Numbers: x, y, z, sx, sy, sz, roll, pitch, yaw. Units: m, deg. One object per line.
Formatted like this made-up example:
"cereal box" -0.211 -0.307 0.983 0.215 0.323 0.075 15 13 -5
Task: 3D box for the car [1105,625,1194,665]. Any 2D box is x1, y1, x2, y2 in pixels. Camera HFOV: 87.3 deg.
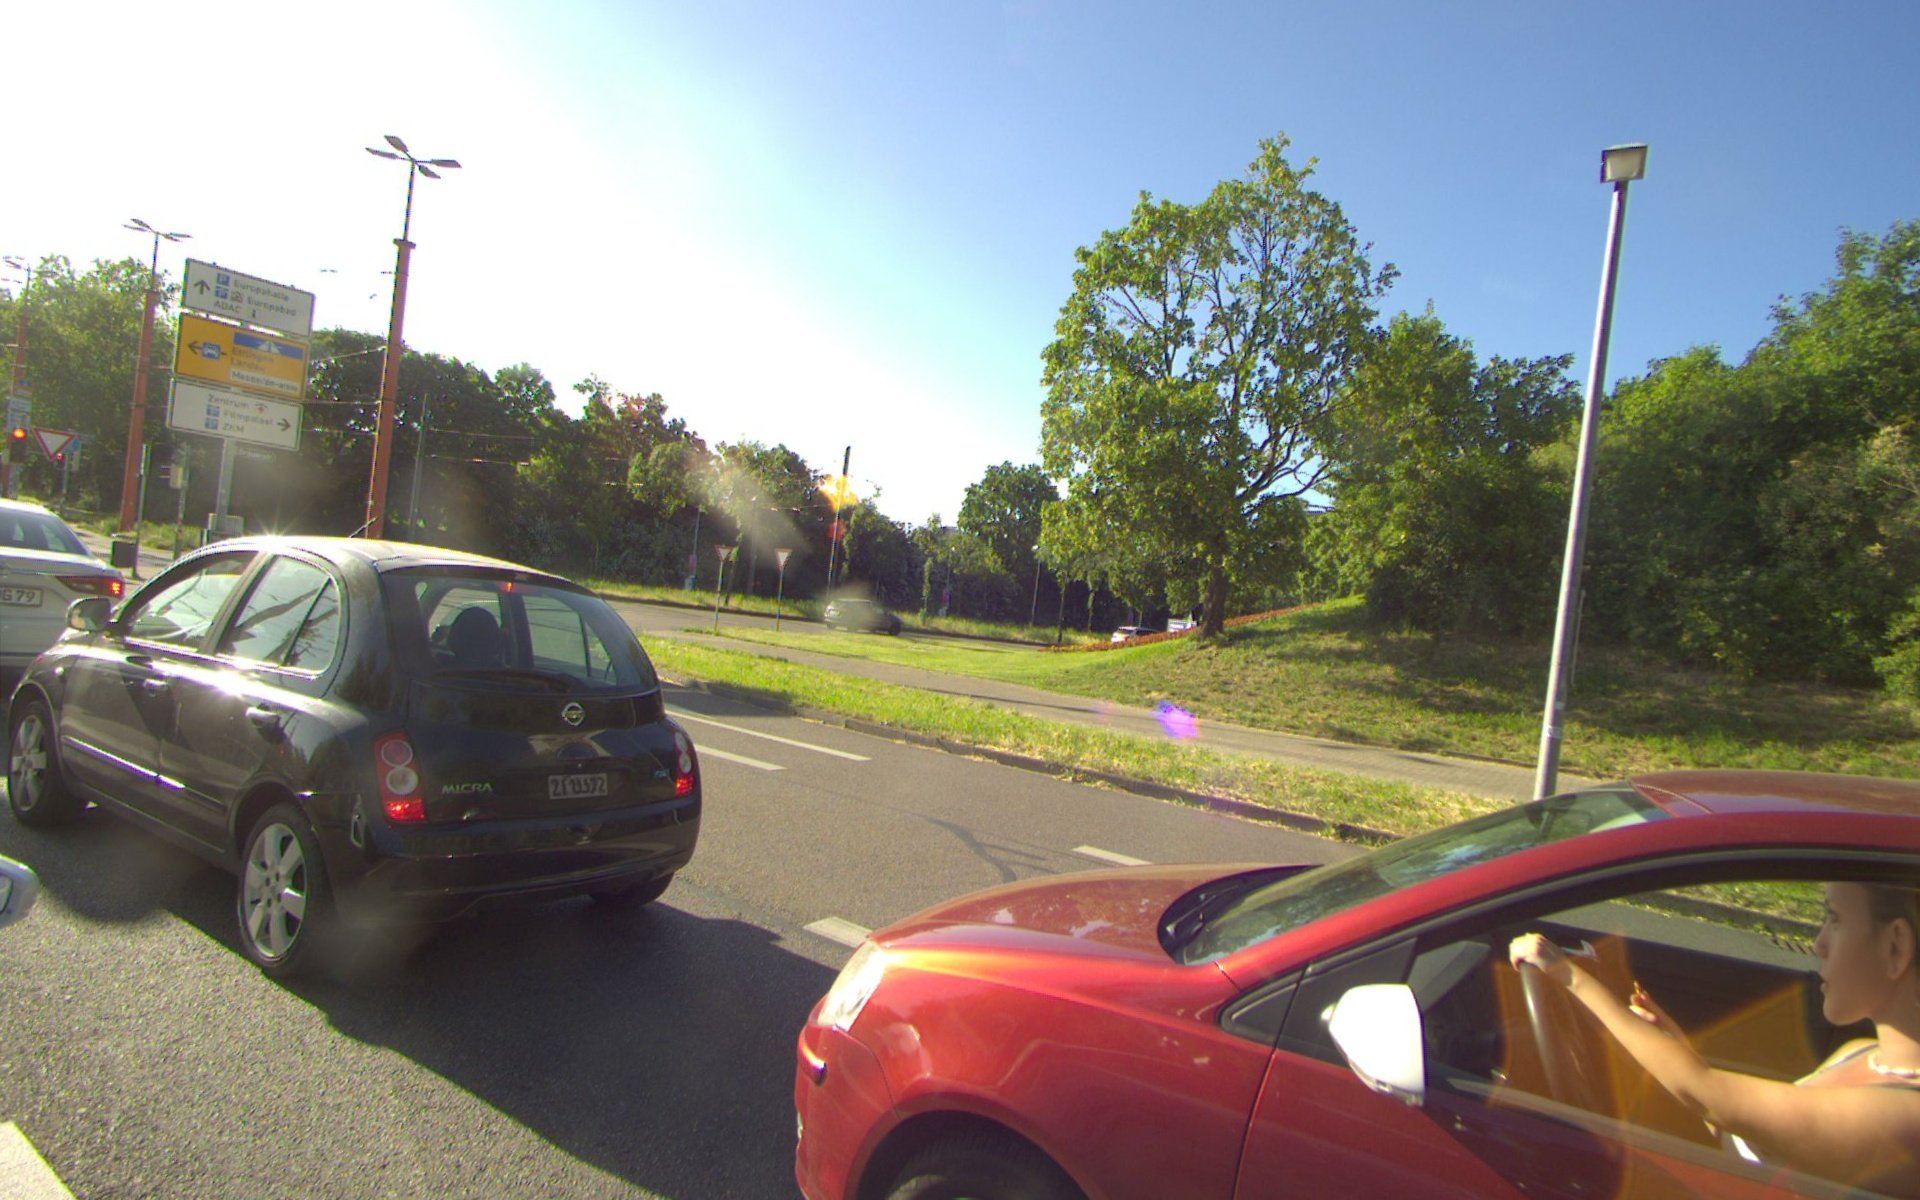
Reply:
"car" 10.678 2.537 56.721 4.746 1.617 1.899 8 -1 -31

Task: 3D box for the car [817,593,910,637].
"car" -4.295 0.679 44.990 1.728 1.486 3.873 7 -1 43

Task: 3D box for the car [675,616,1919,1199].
"car" 1.372 0.989 1.892 3.634 1.434 1.624 7 -1 34

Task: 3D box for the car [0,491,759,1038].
"car" -2.820 0.463 4.623 3.457 1.524 1.558 7 0 32

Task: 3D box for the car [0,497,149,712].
"car" -8.345 -0.164 7.976 4.077 1.472 1.717 7 -1 33
